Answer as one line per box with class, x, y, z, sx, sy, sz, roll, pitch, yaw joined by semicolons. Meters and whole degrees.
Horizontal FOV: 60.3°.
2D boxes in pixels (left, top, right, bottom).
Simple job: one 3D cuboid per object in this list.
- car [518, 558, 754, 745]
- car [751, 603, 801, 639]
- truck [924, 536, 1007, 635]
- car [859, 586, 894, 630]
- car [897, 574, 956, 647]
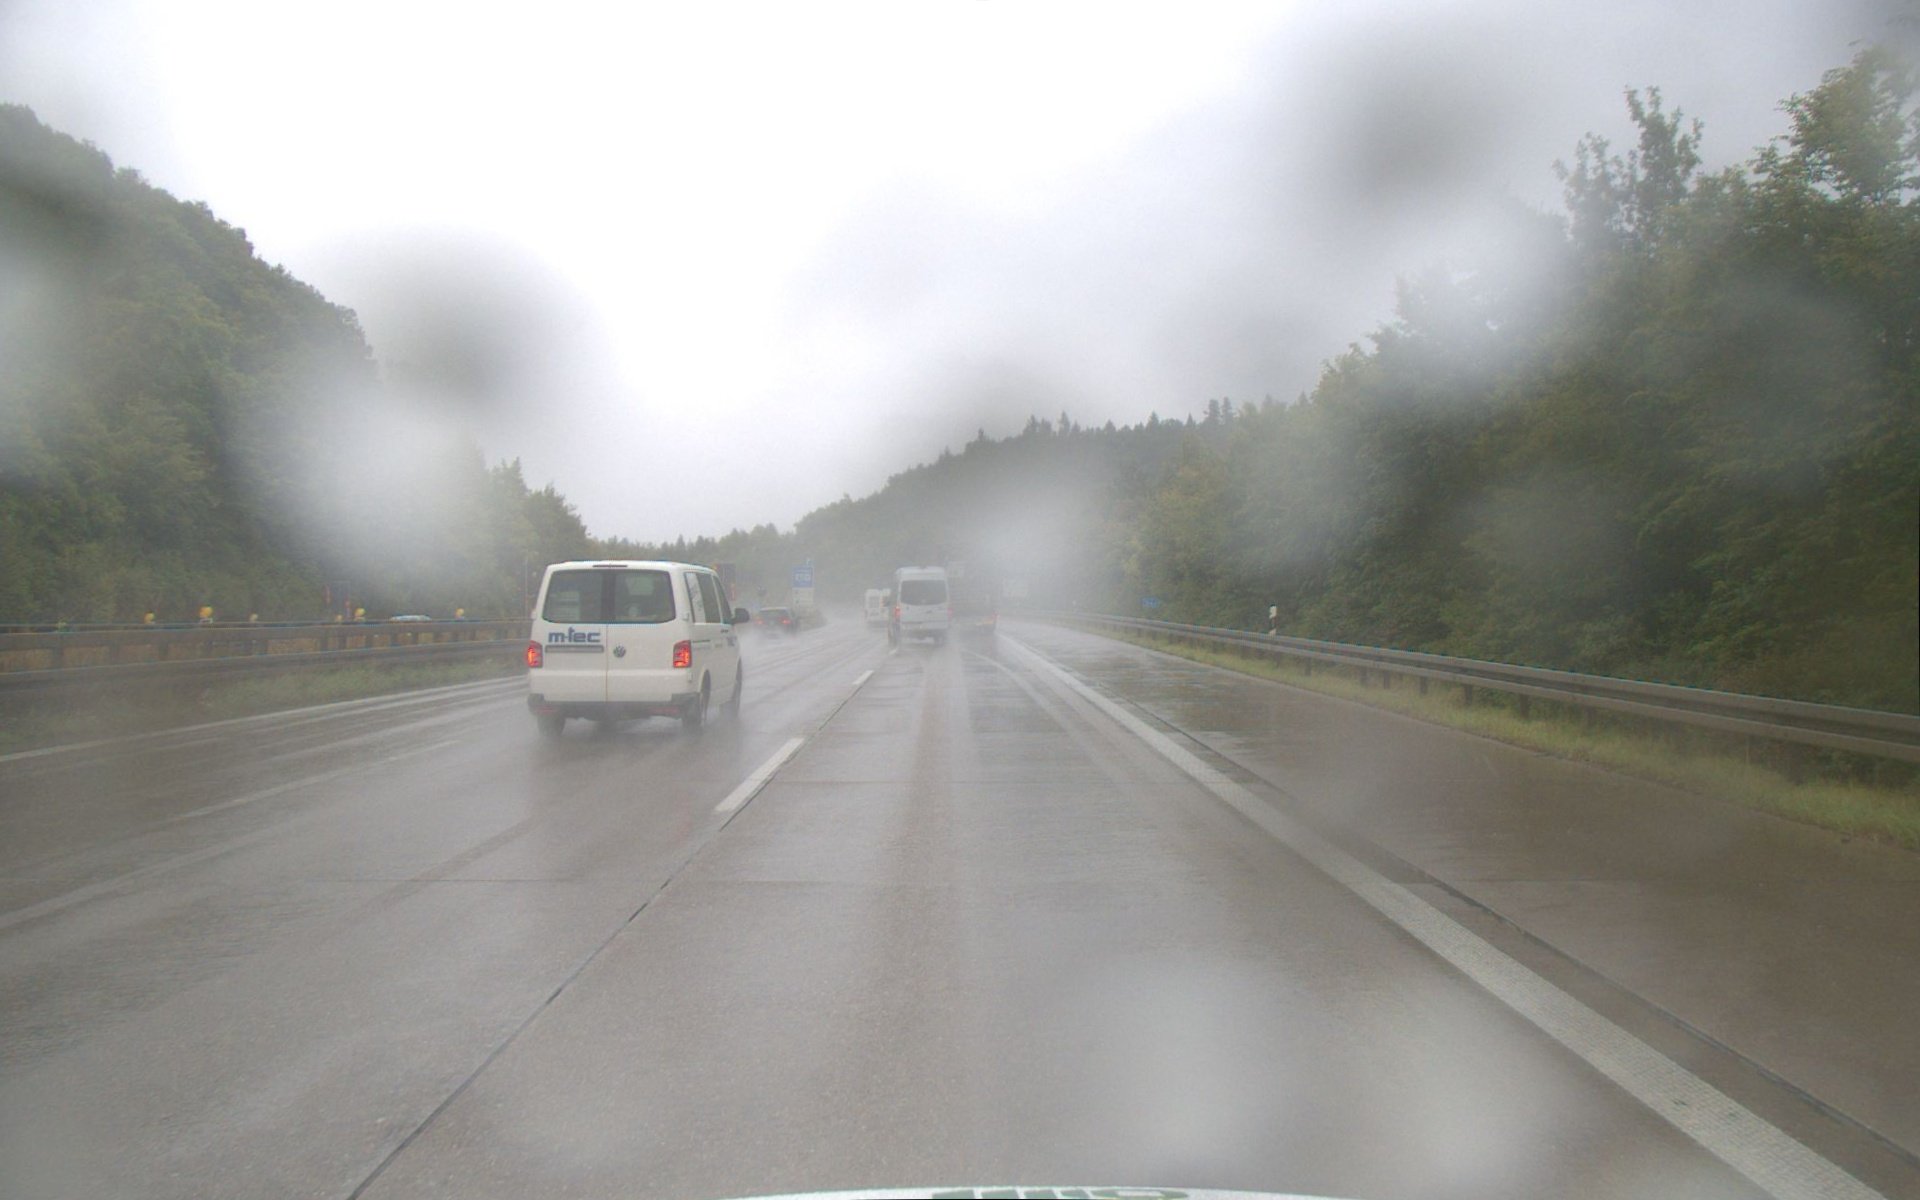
car;-3.665;0.547;19.635;1.861;1.927;5.042;0;0;-1
car;-7.507;0.859;67.743;1.706;1.412;4.319;0;-1;-2
truck;0.161;-0.728;74.057;3.317;4.037;8.665;-3;2;-1
car;-4.994;0.474;99.603;1.958;2.474;5.788;2;0;-2
car;-1.203;0.360;57.782;1.861;2.374;5.248;2;0;-2
